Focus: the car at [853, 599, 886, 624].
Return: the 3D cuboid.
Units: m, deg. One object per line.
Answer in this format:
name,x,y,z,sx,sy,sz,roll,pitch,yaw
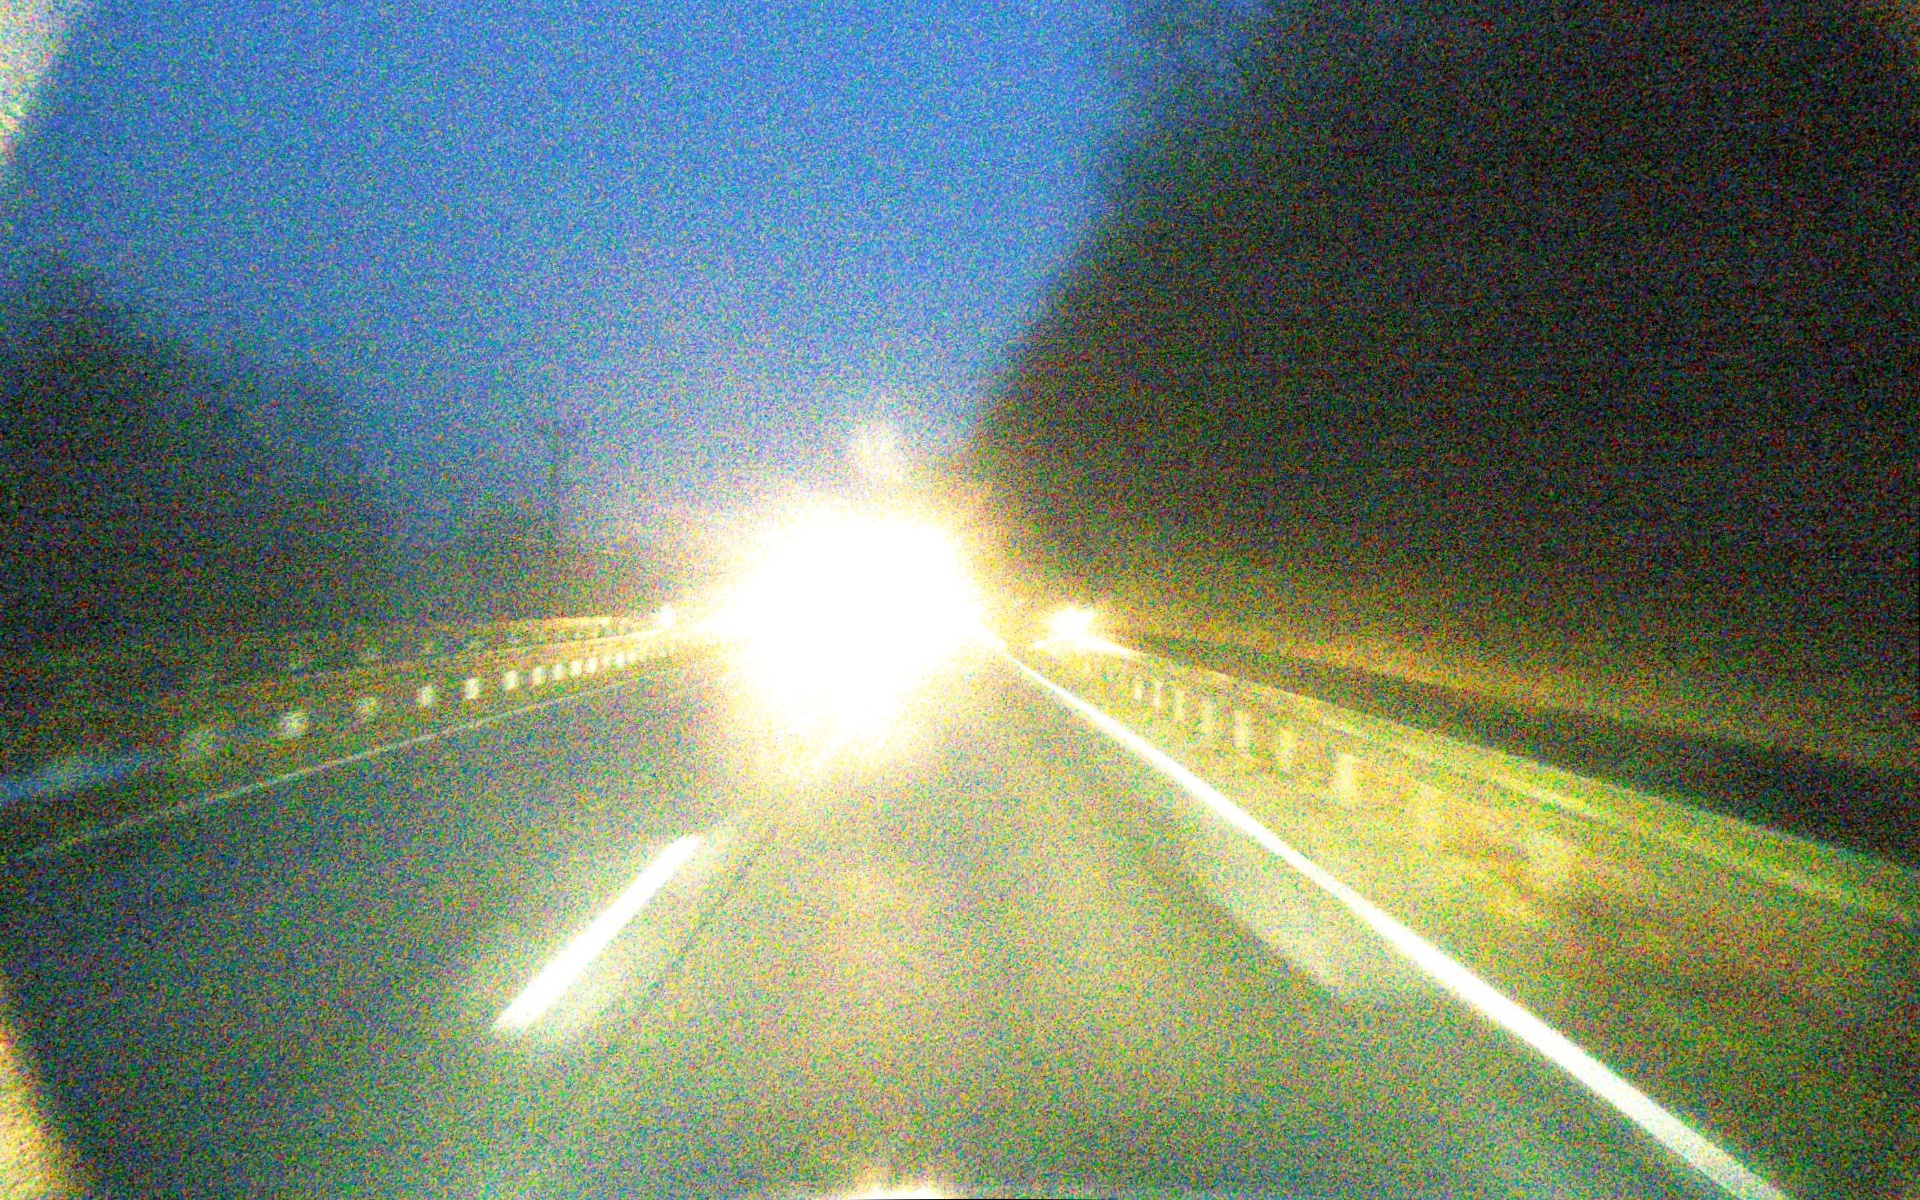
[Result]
car,-5.815,0.726,106.307,1.953,1.501,3.923,1,0,-1
